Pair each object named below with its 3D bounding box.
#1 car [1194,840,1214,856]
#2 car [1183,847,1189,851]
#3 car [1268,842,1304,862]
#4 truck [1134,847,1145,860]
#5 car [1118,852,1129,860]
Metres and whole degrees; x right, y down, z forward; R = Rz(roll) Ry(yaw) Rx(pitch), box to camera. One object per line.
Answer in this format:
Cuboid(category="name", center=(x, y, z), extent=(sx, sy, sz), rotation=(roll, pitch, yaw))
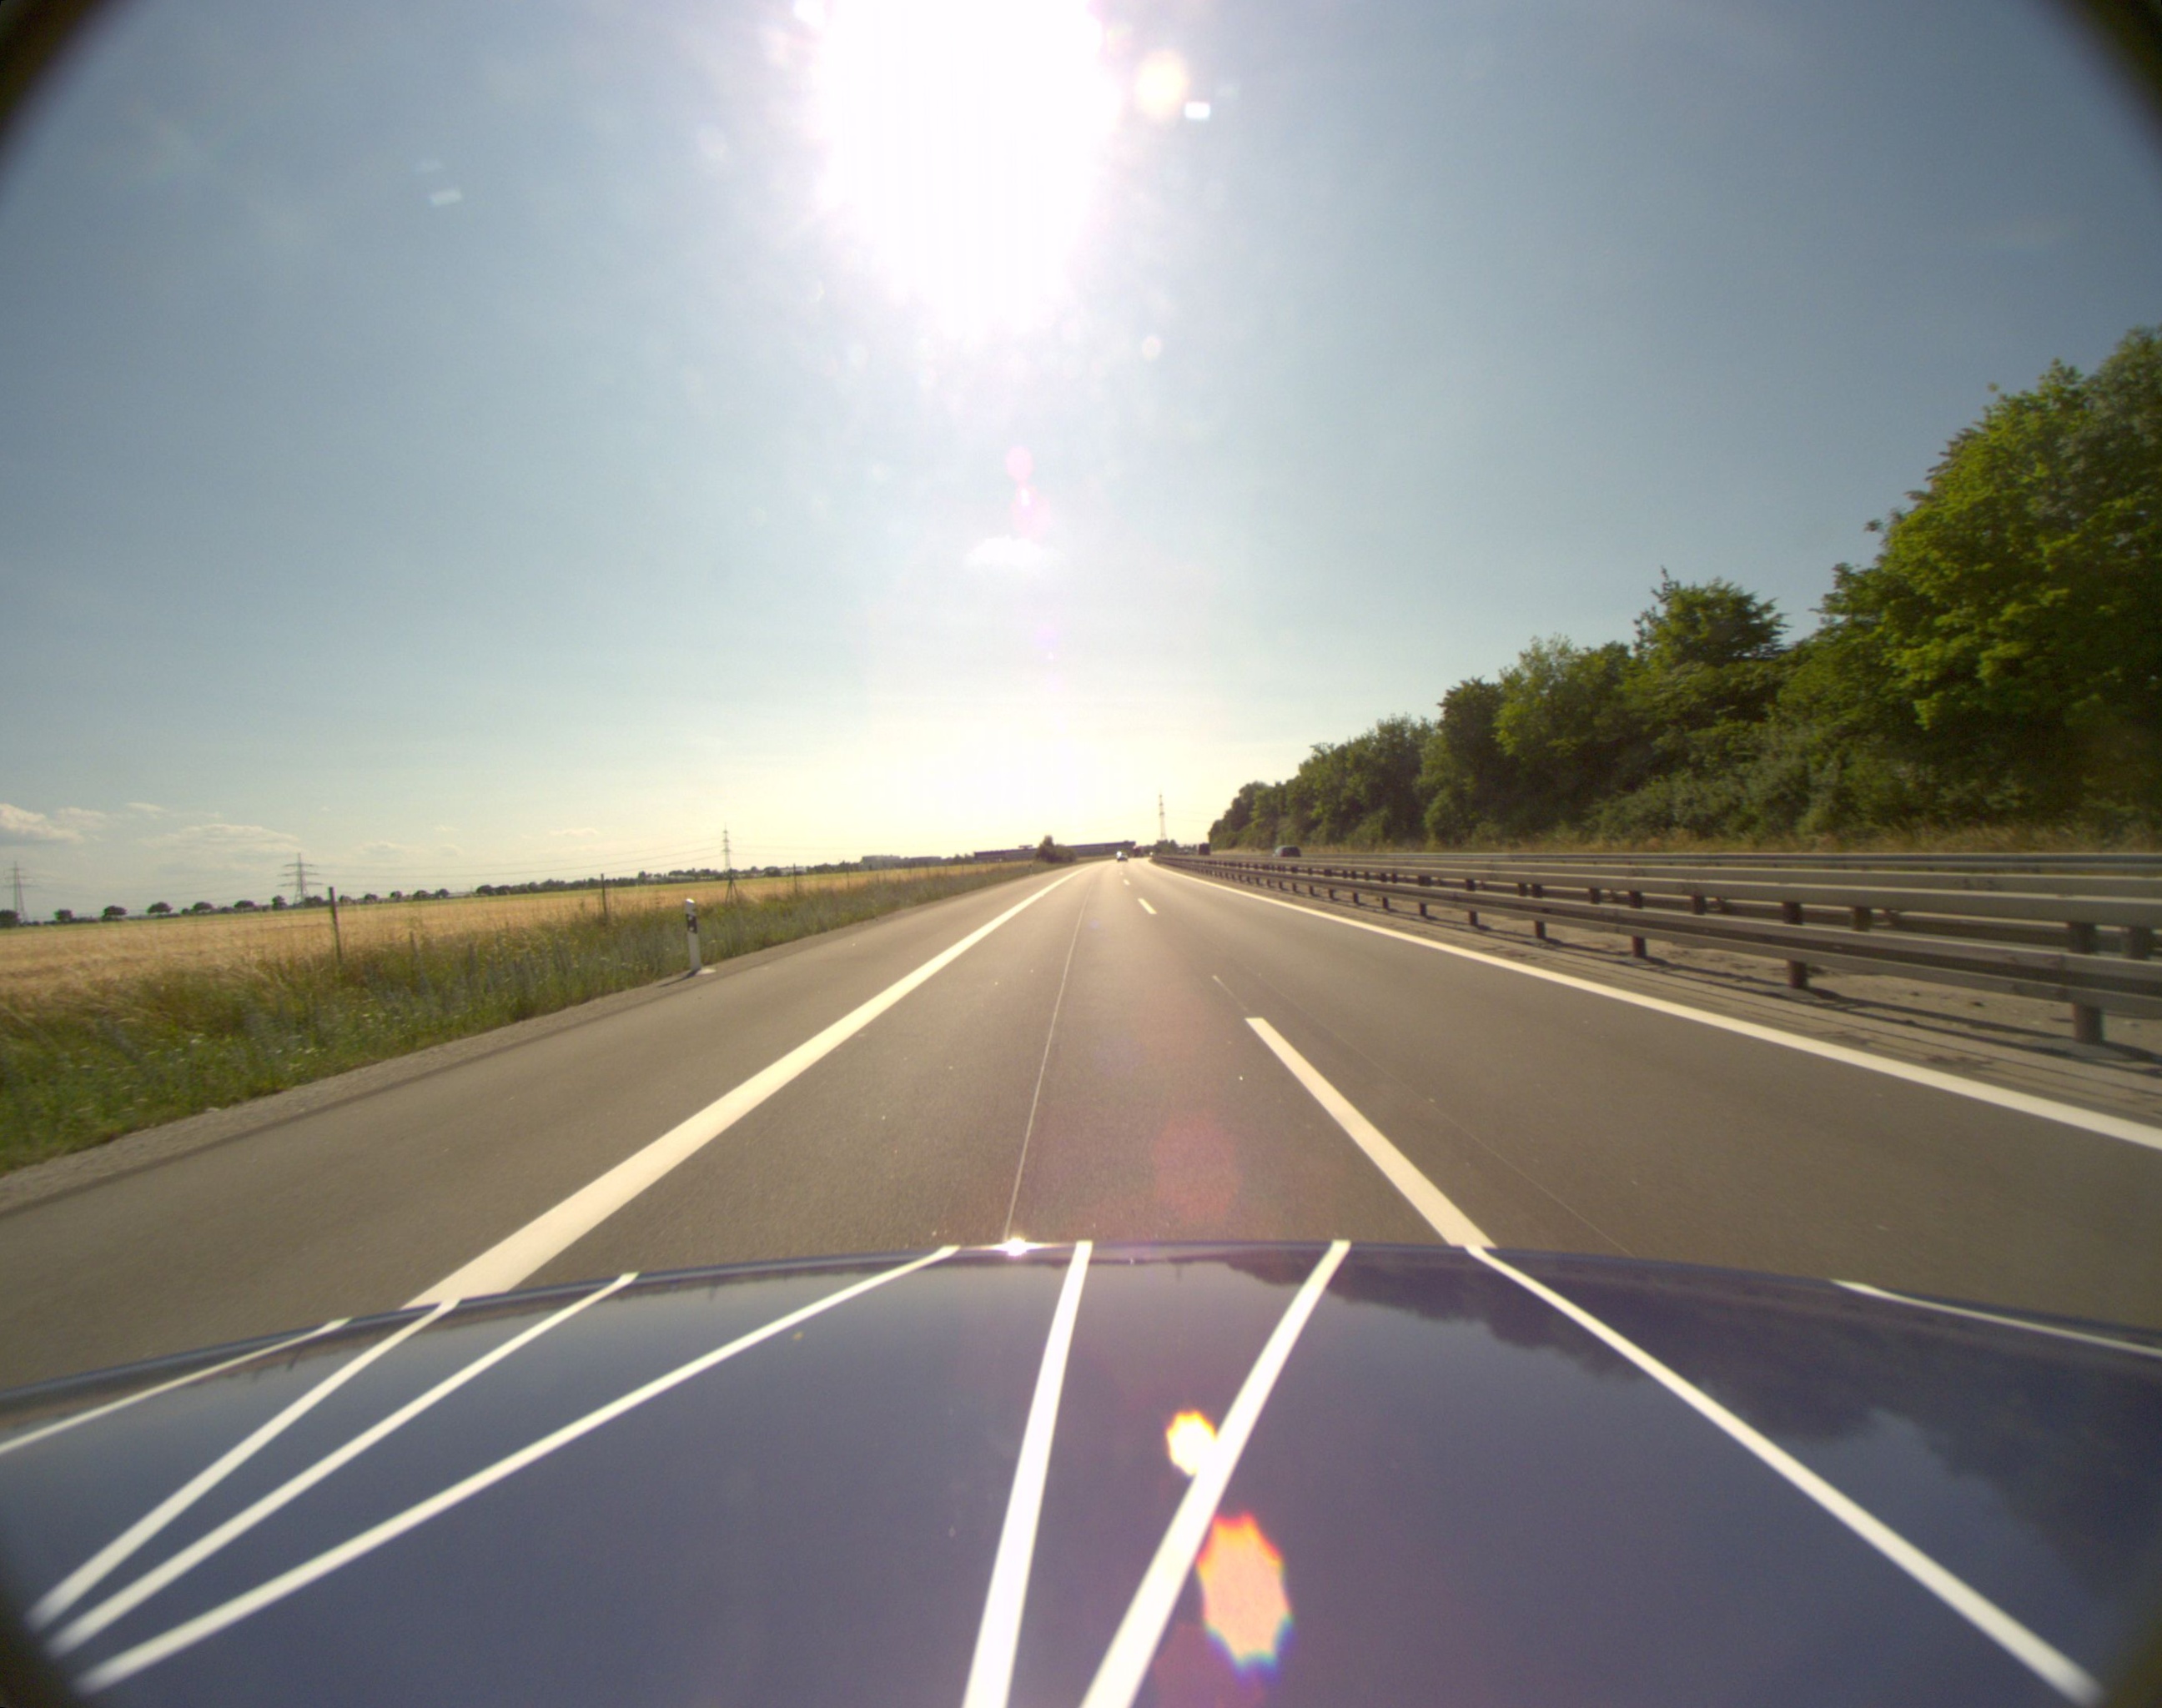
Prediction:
Cuboid(category="car", center=(21.459, -1.112, 132.875), extent=(2.550, 2.580, 6.594), rotation=(-3, 0, 3))
Cuboid(category="car", center=(35.827, -1.744, 259.827), extent=(1.665, 1.414, 4.001), rotation=(-3, 0, 6))
Cuboid(category="car", center=(17.275, -0.156, 64.248), extent=(1.815, 1.546, 4.849), rotation=(-3, 0, 2))
Cuboid(category="truck", center=(19.875, -0.255, 256.142), extent=(2.569, 3.938, 8.650), rotation=(-5, 0, 10))
Cuboid(category="car", center=(7.456, 0.355, 133.854), extent=(1.860, 1.361, 4.001), rotation=(-3, 0, 3))
